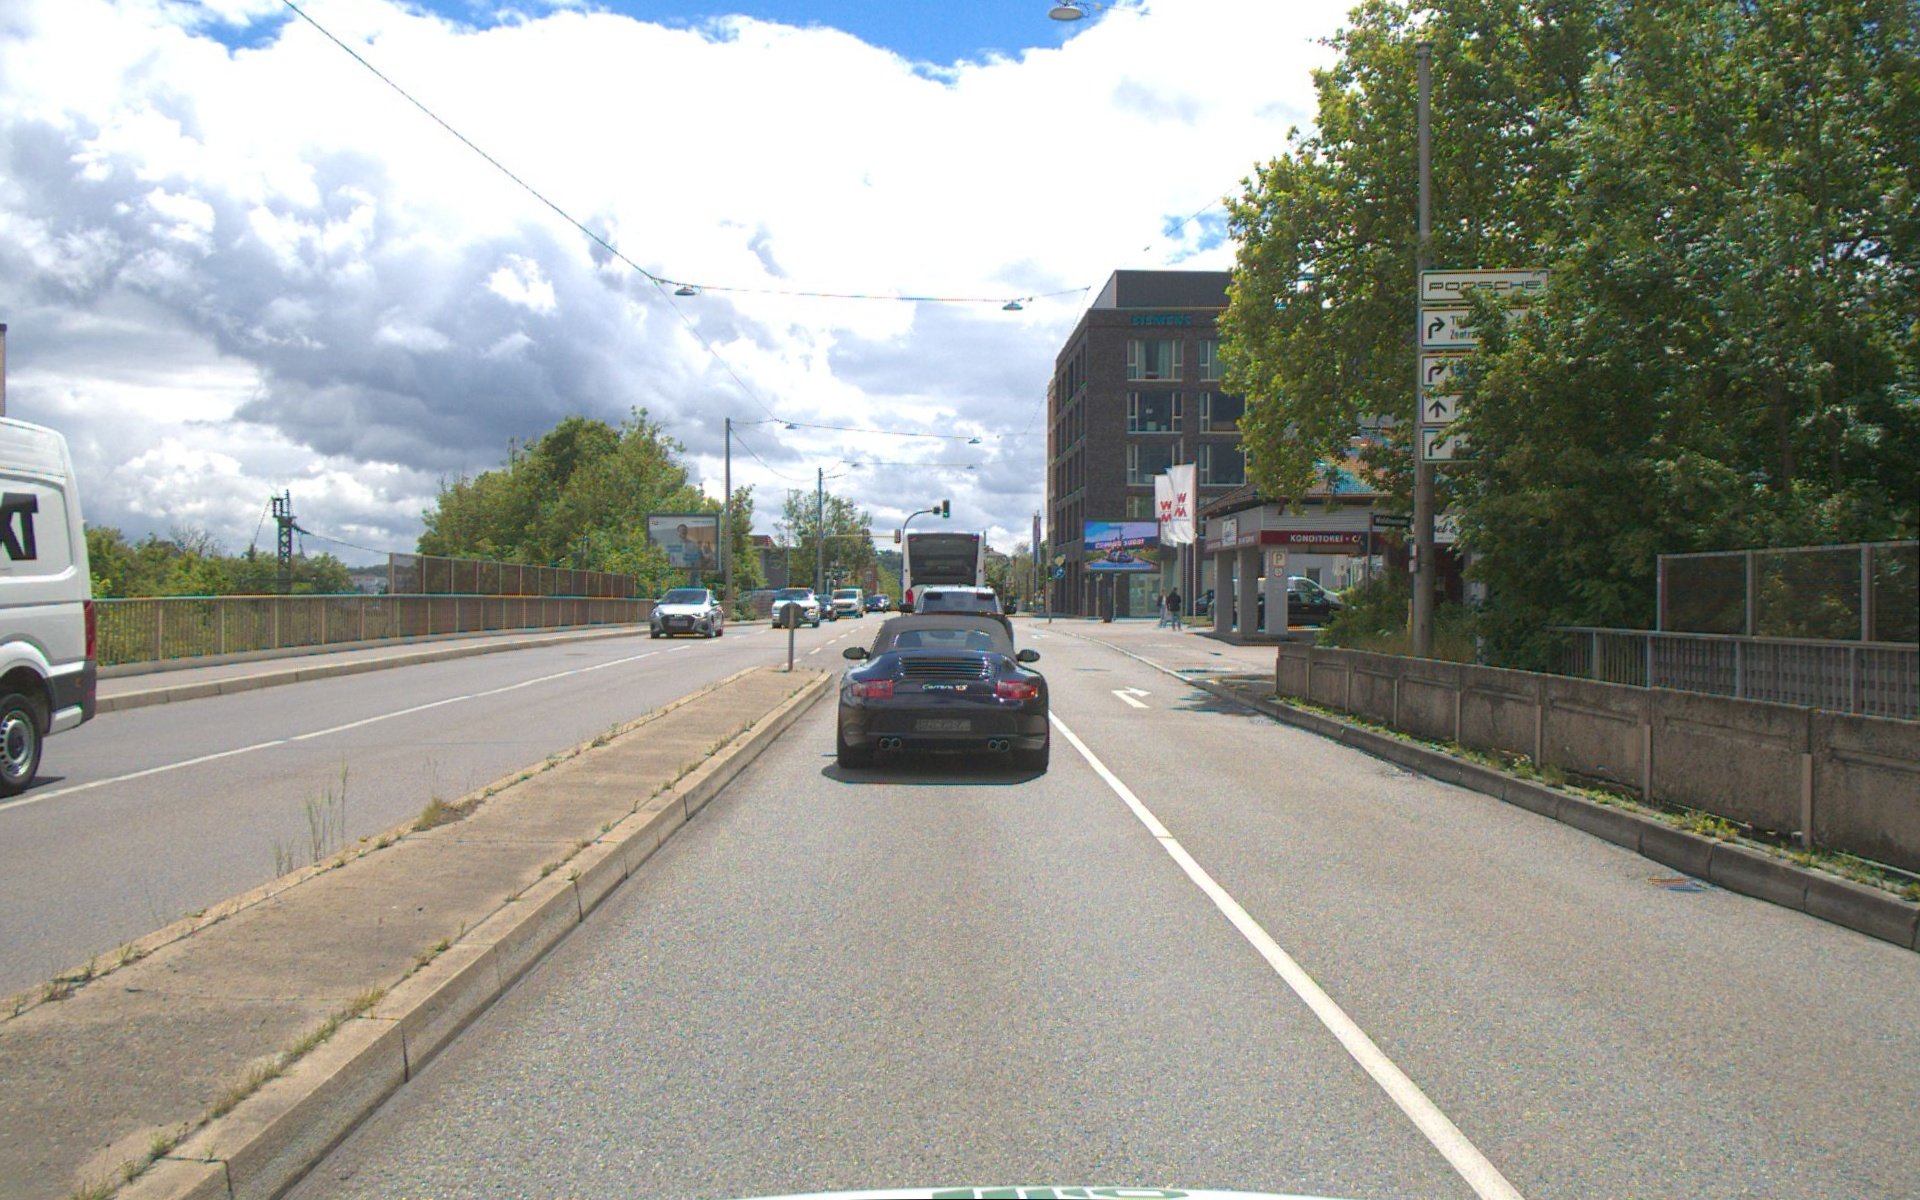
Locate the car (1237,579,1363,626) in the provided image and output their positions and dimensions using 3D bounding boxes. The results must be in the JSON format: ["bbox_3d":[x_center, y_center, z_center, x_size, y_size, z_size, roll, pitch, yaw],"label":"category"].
[{"bbox_3d":[12.520,0.100,61.102,4.212,1.539,1.846,-2,-1,0],"label":"car"}]

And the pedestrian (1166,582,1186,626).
[{"bbox_3d":[8.606,0.154,65.883,0.666,1.726,0.598,0,0,25],"label":"pedestrian"}]

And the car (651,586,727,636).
[{"bbox_3d":[-7.907,0.286,48.580,1.603,1.387,4.194,0,1,-1],"label":"car"}]

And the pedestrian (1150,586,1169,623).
[{"bbox_3d":[9.457,0.218,78.415,0.693,1.726,0.924,1,0,-4],"label":"pedestrian"}]

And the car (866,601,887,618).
[{"bbox_3d":[-7.162,0.824,142.261,1.629,1.440,3.802,0,0,0],"label":"car"}]

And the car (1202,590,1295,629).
[{"bbox_3d":[12.521,0.399,71.989,3.682,1.465,1.719,-3,0,0],"label":"car"}]

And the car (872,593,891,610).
[{"bbox_3d":[-7.624,0.154,160.696,1.629,1.574,3.802,0,0,0],"label":"car"}]

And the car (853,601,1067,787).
[{"bbox_3d":[-0.043,0.757,15.293,1.685,1.297,4.088,1,2,-1],"label":"car"}]

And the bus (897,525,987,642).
[{"bbox_3d":[-0.512,-0.780,56.215,2.634,3.311,12.062,2,3,0],"label":"bus"}]

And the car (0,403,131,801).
[{"bbox_3d":[-7.305,0.046,9.163,2.025,2.616,6.821,-1,1,-1],"label":"car"}]

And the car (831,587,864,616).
[{"bbox_3d":[-7.647,0.102,112.635,1.863,1.920,5.312,-2,0,-1],"label":"car"}]

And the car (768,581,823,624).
[{"bbox_3d":[-6.350,0.092,64.222,1.773,1.587,4.206,1,0,-1],"label":"car"}]

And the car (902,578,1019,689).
[{"bbox_3d":[-0.045,0.520,28.733,1.842,1.621,4.229,2,2,-2],"label":"car"}]

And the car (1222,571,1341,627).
[{"bbox_3d":[12.421,-0.049,64.073,4.144,1.970,2.029,-2,0,0],"label":"car"}]

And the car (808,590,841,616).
[{"bbox_3d":[-7.636,0.176,93.415,1.595,1.455,3.999,0,0,-1],"label":"car"}]
